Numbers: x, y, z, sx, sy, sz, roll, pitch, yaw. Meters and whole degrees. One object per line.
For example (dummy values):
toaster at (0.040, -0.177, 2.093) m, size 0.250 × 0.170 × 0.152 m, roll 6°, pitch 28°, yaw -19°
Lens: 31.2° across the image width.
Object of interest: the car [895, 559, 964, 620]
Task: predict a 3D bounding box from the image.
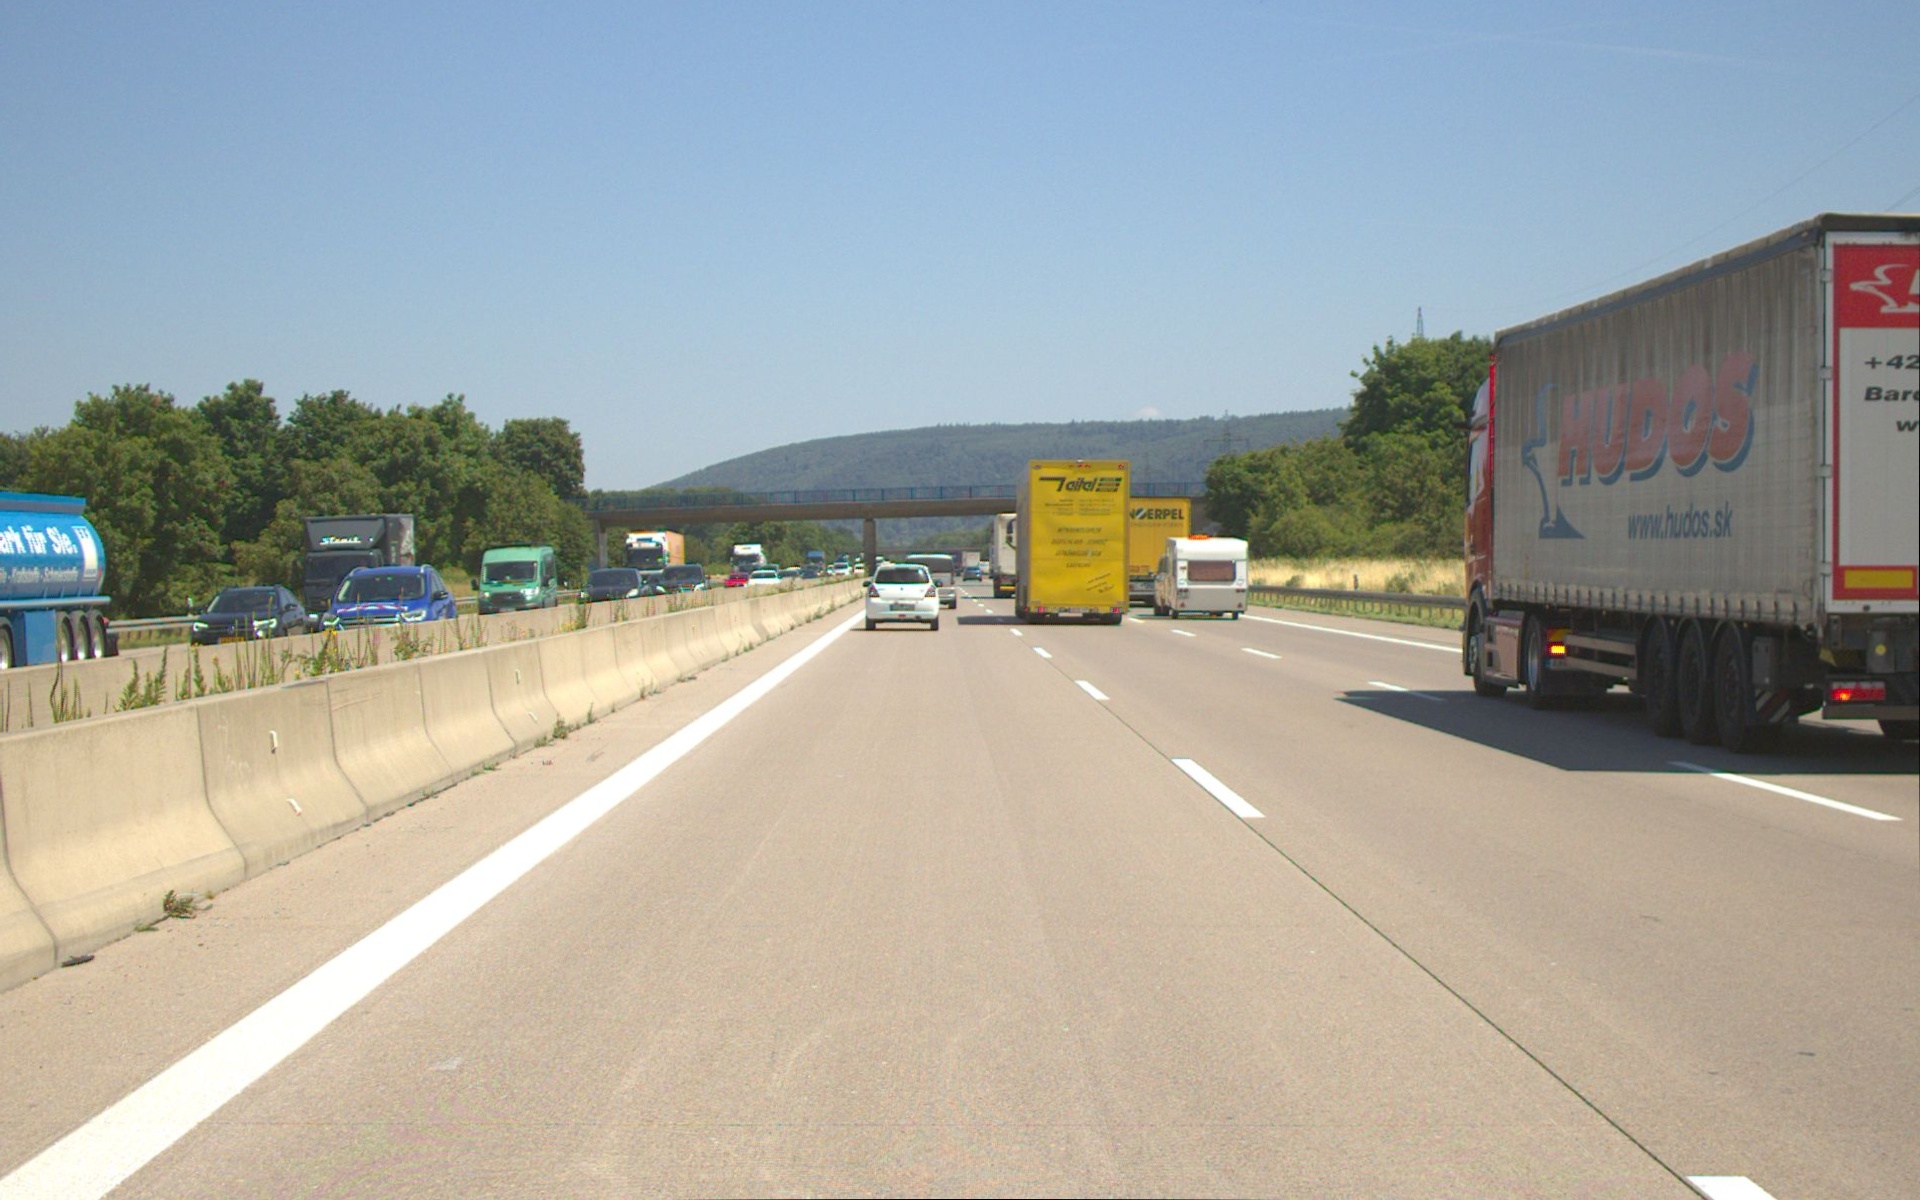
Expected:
car at (-1.034, -0.381, 118.924) m, size 2.254 × 2.007 × 4.297 m, roll 1°, pitch 1°, yaw 0°

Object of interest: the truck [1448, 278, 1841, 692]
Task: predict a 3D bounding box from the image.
truck at (7.282, -1.195, 37.456) m, size 2.905 × 4.086 × 6.272 m, roll 1°, pitch 1°, yaw -1°

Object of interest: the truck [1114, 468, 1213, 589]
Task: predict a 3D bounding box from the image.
truck at (7.530, -2.653, 128.432) m, size 2.999 × 4.299 × 9.684 m, roll 1°, pitch 1°, yaw 0°

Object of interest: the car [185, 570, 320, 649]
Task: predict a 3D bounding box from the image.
car at (-13.829, 0.166, 67.417) m, size 1.719 × 1.443 × 4.708 m, roll 1°, pitch 1°, yaw -1°

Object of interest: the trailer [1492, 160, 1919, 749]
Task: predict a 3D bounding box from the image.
trailer at (7.334, -1.096, 30.722) m, size 2.873 × 4.086 × 13.513 m, roll 1°, pitch 1°, yaw -1°

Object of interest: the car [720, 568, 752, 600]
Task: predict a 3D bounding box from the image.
car at (-14.489, -1.028, 222.359) m, size 1.993 × 2.007 × 4.000 m, roll -1°, pitch 1°, yaw -3°

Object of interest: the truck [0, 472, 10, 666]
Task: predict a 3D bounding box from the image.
truck at (-17.542, -0.511, 56.490) m, size 2.484 × 3.298 × 5.264 m, roll 1°, pitch 1°, yaw -1°

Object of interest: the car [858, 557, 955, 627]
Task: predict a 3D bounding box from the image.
car at (-1.205, -0.202, 79.496) m, size 2.107 × 1.530 × 4.122 m, roll 1°, pitch 1°, yaw 1°

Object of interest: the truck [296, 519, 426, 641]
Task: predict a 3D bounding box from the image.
truck at (-18.131, -0.635, 104.452) m, size 2.554 × 3.500 × 7.885 m, roll -2°, pitch 1°, yaw -1°

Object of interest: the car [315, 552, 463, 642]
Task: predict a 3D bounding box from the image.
car at (-9.310, -0.071, 56.334) m, size 1.779 × 1.344 × 4.453 m, roll 2°, pitch 1°, yaw -2°

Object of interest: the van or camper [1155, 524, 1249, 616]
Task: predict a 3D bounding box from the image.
van or camper at (6.903, -0.883, 98.514) m, size 2.224 × 2.522 × 5.431 m, roll 1°, pitch 1°, yaw -1°

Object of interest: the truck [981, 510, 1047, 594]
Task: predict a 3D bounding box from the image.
truck at (2.446, -2.204, 158.759) m, size 2.820 × 3.748 × 6.284 m, roll 1°, pitch 1°, yaw -1°

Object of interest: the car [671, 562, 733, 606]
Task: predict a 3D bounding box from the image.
car at (-9.651, -0.621, 128.763) m, size 1.993 × 1.571 × 4.849 m, roll 1°, pitch 1°, yaw -1°

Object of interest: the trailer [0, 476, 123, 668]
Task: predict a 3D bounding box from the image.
trailer at (-17.637, -0.558, 62.944) m, size 2.515 × 3.261 × 9.254 m, roll 1°, pitch 1°, yaw -1°

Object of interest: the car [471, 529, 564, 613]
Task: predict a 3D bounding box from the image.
car at (-13.822, -0.913, 107.802) m, size 2.149 × 2.542 × 6.464 m, roll 0°, pitch 0°, yaw -1°

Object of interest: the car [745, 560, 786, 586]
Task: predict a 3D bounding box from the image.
car at (-10.718, -1.505, 190.127) m, size 1.993 × 1.359 × 4.670 m, roll -2°, pitch 1°, yaw -1°

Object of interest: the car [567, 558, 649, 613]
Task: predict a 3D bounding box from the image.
car at (-10.345, -0.455, 101.268) m, size 1.940 × 1.552 × 4.889 m, roll -1°, pitch 1°, yaw -1°

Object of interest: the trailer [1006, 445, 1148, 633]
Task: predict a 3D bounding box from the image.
trailer at (2.952, -1.595, 91.150) m, size 3.216 × 4.548 × 13.457 m, roll 1°, pitch 1°, yaw 0°
